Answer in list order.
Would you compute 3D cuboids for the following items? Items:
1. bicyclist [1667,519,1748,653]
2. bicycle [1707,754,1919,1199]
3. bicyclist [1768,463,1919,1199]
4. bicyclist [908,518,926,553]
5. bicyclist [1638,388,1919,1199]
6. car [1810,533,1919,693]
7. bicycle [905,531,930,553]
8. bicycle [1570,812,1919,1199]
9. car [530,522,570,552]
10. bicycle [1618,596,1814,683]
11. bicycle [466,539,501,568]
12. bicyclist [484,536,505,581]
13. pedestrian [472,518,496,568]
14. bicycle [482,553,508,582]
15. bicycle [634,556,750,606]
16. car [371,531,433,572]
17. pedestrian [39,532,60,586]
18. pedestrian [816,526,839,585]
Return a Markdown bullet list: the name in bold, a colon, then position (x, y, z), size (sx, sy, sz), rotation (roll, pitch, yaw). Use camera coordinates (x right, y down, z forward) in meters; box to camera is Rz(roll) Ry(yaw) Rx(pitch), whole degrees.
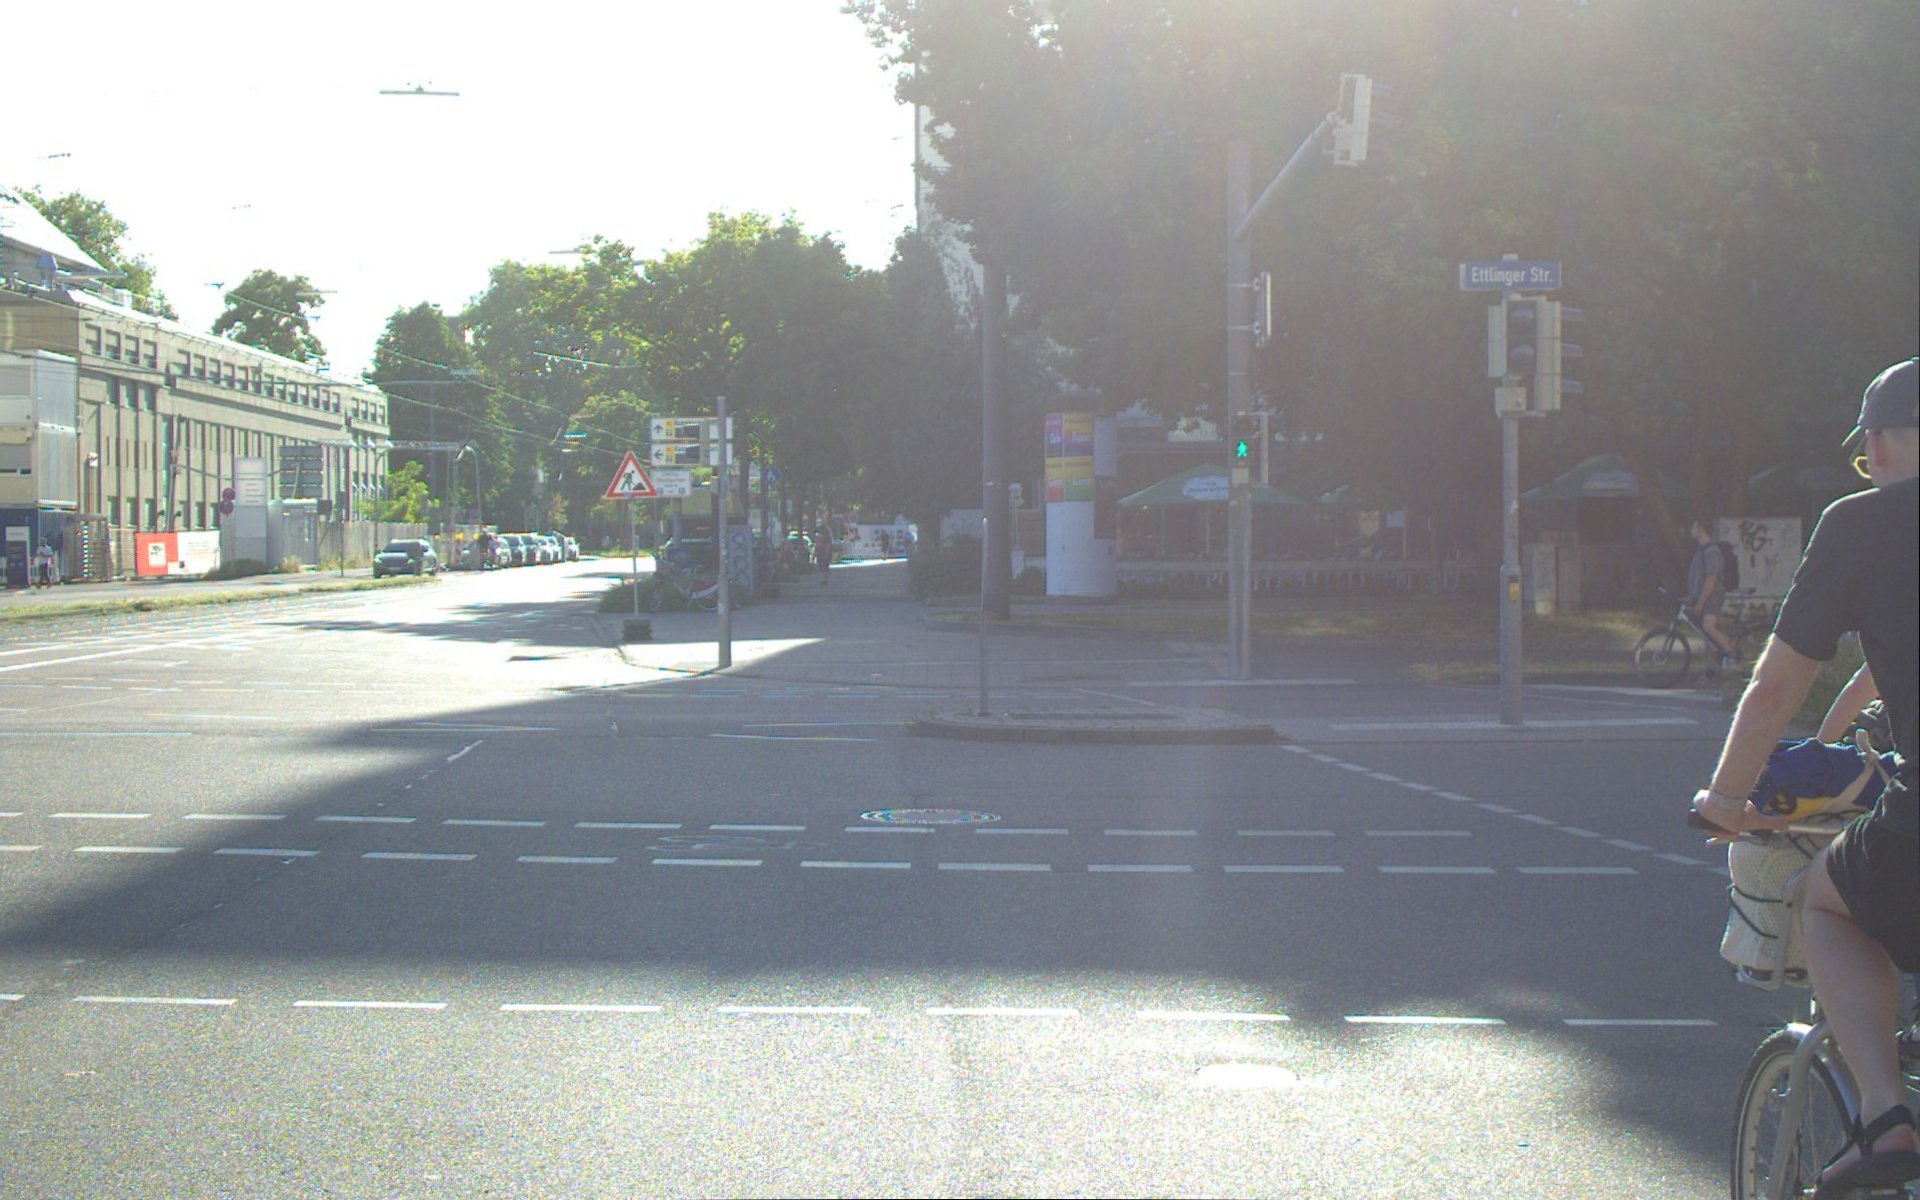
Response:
- **bicyclist**: position (7.894, -0.151, 36.345), size (0.747, 1.401, 0.702), rotation (1, 0, 6)
- **bicycle**: position (2.250, 0.915, 7.540), size (0.582, 1.040, 1.747), rotation (-1, 1, -10)
- **bicyclist**: position (2.245, 0.571, 7.545), size (0.583, 1.732, 0.950), rotation (-1, 1, -10)
- **bicyclist**: position (-2.484, -3.767, 200.359), size (0.890, 2.007, 0.749), rotation (1, 0, -12)
- **bicyclist**: position (1.595, 0.525, 5.680), size (0.623, 1.709, 0.913), rotation (-1, 1, -11)
- **car**: position (10.840, 0.143, 33.538), size (4.576, 1.511, 2.000), rotation (1, 0, 0)
- **bicycle**: position (-2.493, -3.376, 200.422), size (0.890, 1.215, 2.794), rotation (1, 1, -12)
- **bicycle**: position (1.610, 0.944, 5.690), size (0.623, 1.040, 1.747), rotation (-1, 1, -10)
- **car**: position (-23.217, -3.564, 194.664), size (1.993, 1.638, 4.001), rotation (-1, 1, -4)
- **bicycle**: position (7.976, 0.412, 36.345), size (1.944, 0.886, 0.718), rotation (1, 0, 6)
- **bicycle**: position (-19.677, -1.919, 141.978), size (0.751, 1.201, 3.107), rotation (1, 1, 5)
- **bicyclist**: position (-20.011, -1.799, 147.783), size (0.750, 1.913, 1.215), rotation (1, 0, -2)
- **pedestrian**: position (-19.671, -2.365, 142.043), size (0.751, 2.056, 1.050), rotation (1, 0, 5)
- **bicycle**: position (-20.006, -1.406, 147.906), size (0.750, 1.201, 3.108), rotation (1, 1, -2)
- **bicycle**: position (-5.240, -0.378, 67.178), size (2.244, 0.937, 0.654), rotation (-1, 1, -5)
- **car**: position (-21.996, -1.918, 135.733), size (1.993, 1.593, 4.001), rotation (0, 1, -3)
- **pedestrian**: position (-31.499, -1.419, 118.951), size (0.588, 1.883, 0.478), rotation (1, 0, -1)
- **pedestrian**: position (-3.757, -1.263, 97.472), size (0.576, 1.683, 0.585), rotation (-1, 1, -8)
